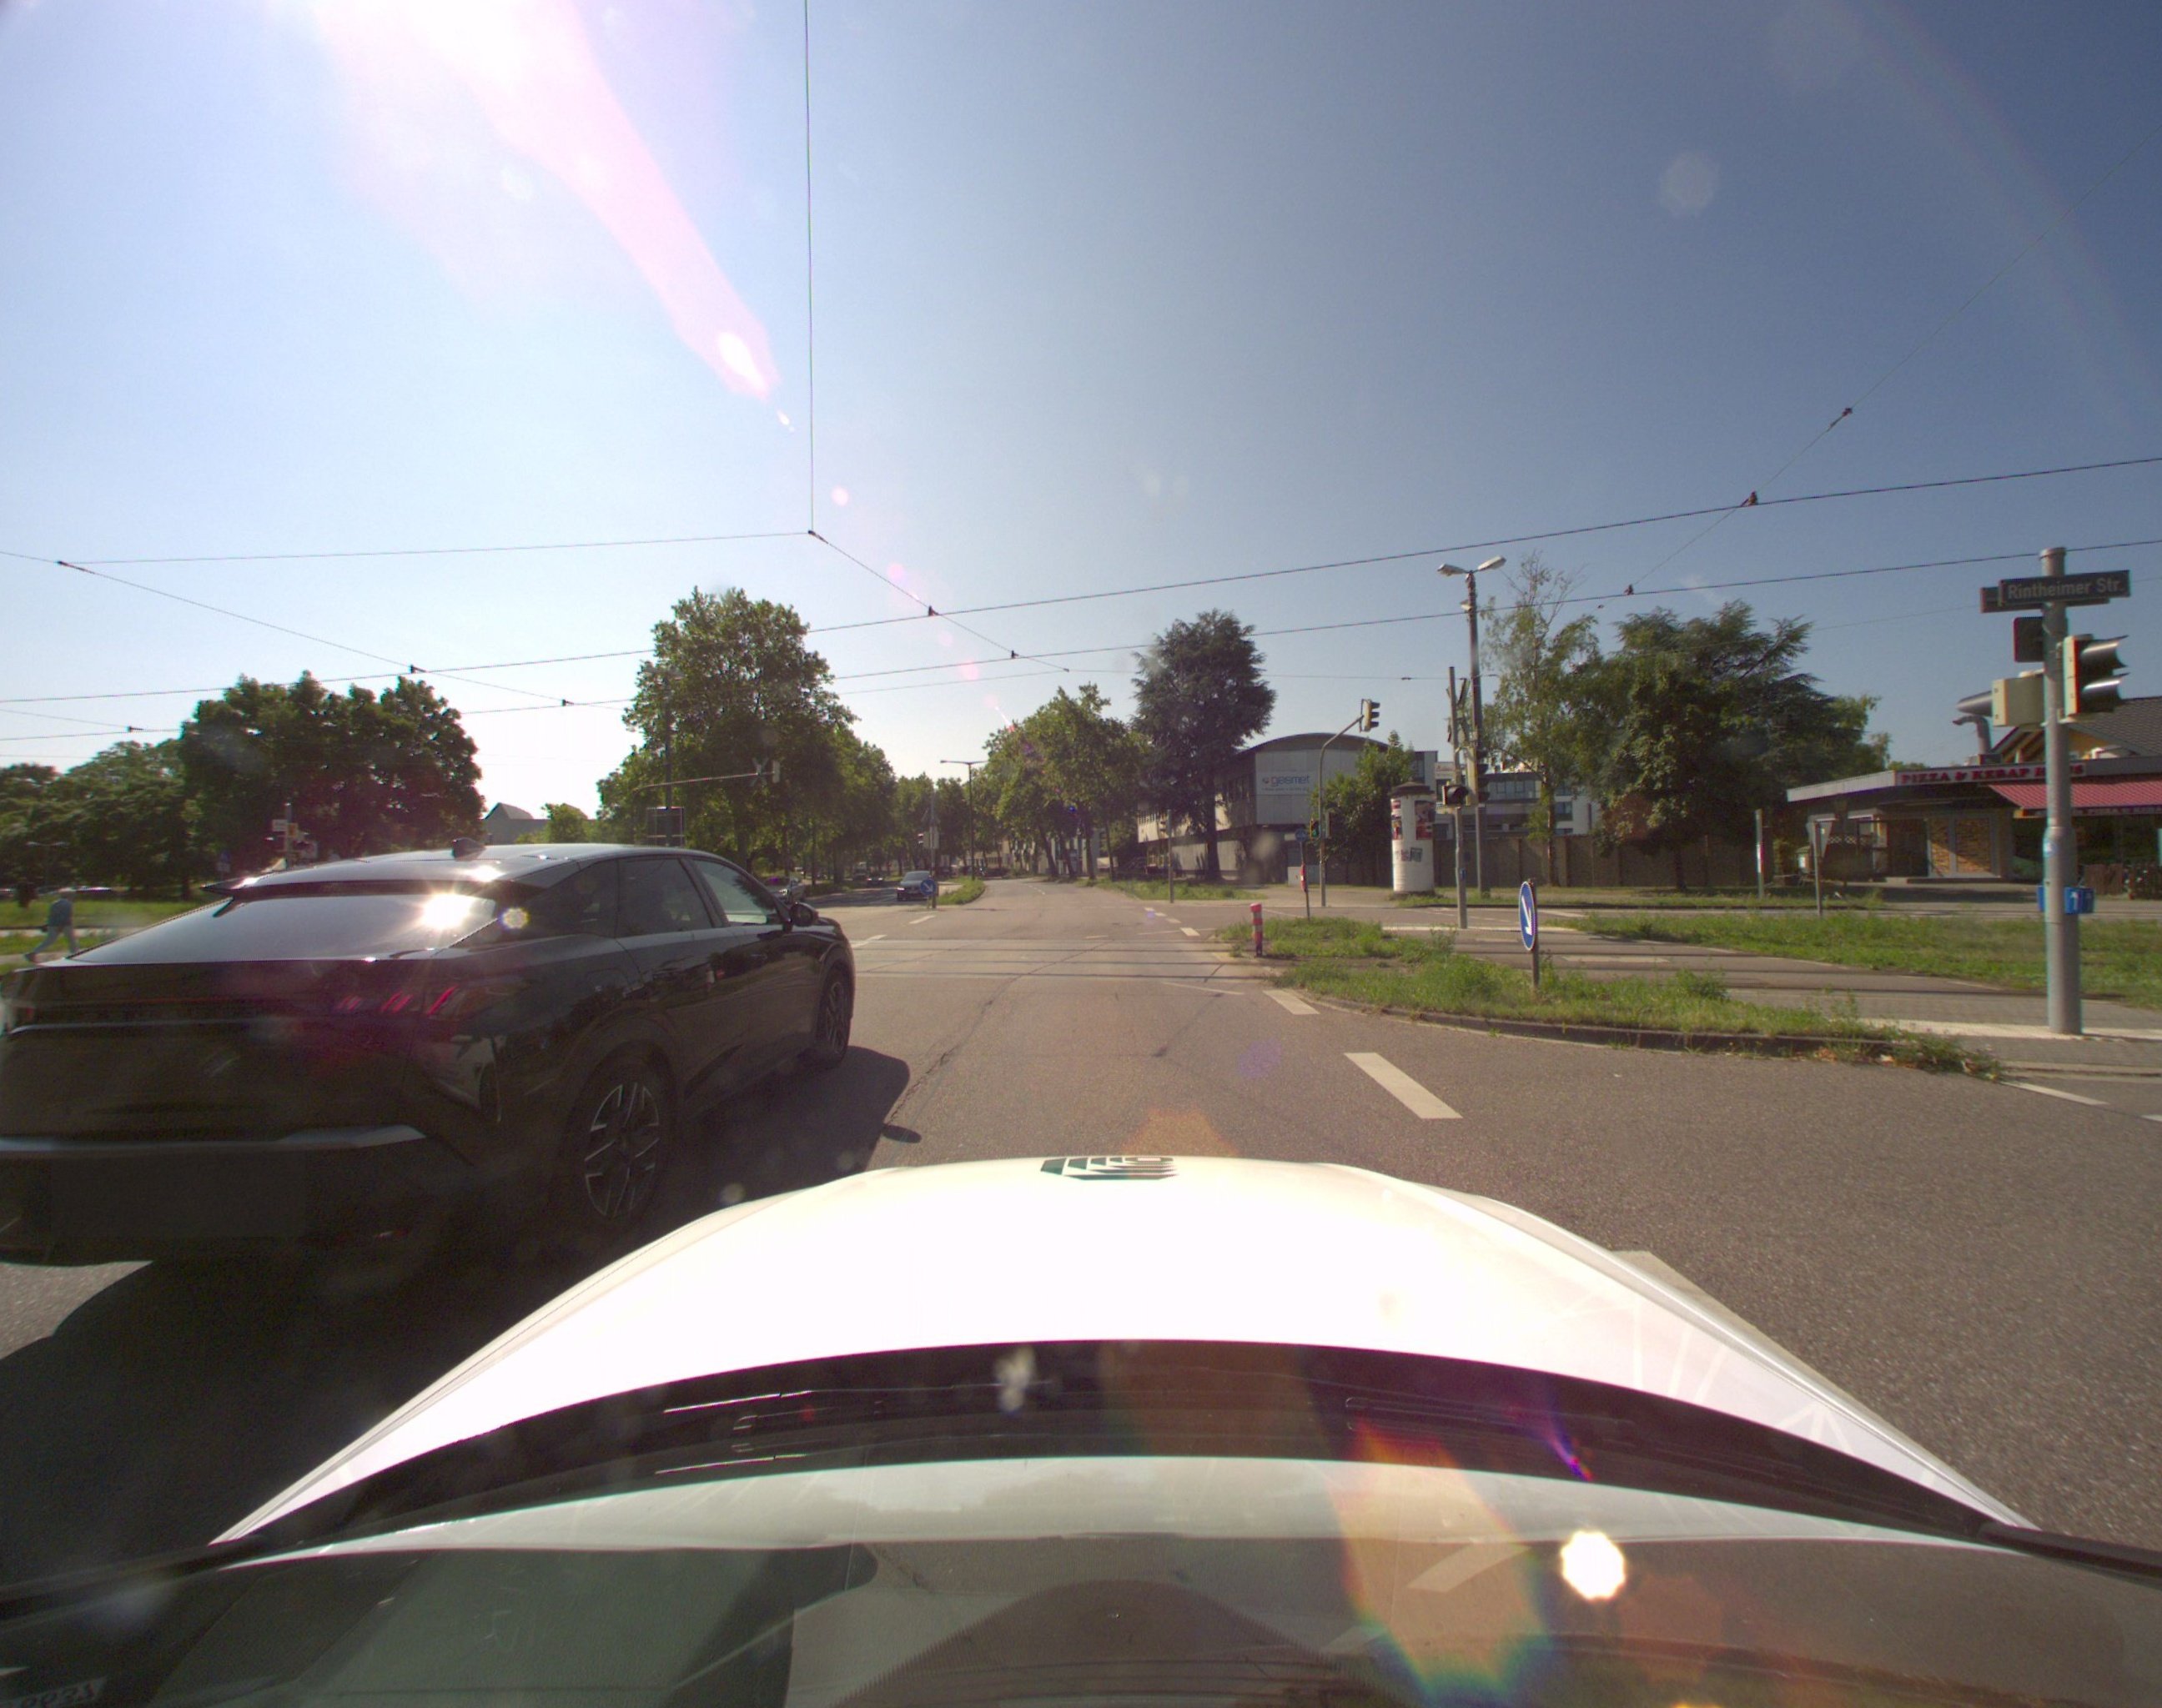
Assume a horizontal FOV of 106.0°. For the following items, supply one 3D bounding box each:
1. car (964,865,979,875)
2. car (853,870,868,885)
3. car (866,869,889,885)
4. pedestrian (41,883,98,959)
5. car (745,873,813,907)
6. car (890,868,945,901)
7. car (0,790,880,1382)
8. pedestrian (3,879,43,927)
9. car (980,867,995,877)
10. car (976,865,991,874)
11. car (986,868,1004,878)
[{"bbox_3d":[-20.576,3.011,153.095,1.713,1.669,4.500,-2,-1,-22],"label":"car"},{"bbox_3d":[-39.633,4.181,146.054,2.066,2.613,7.171,-2,-1,-18],"label":"car"},{"bbox_3d":[-21.769,2.465,87.066,1.707,1.589,4.423,-3,0,-6],"label":"car"},{"bbox_3d":[-21.457,1.402,17.280,0.362,1.561,0.672,-2,-1,18],"label":"pedestrian"},{"bbox_3d":[-15.319,1.792,41.538,1.688,1.508,4.660,-2,-1,0],"label":"car"},{"bbox_3d":[-8.193,1.478,41.073,1.687,1.508,4.133,-2,-1,3],"label":"car"},{"bbox_3d":[-2.680,0.706,4.608,1.865,1.696,4.436,-1,-1,1],"label":"car"},{"bbox_3d":[-45.989,2.114,35.410,0.796,2.014,0.707,-1,-1,-21],"label":"pedestrian"},{"bbox_3d":[-15.749,3.005,136.652,1.711,1.488,4.077,-2,-1,-17],"label":"car"},{"bbox_3d":[-16.923,2.732,141.538,1.711,1.455,4.629,-2,-1,-17],"label":"car"},{"bbox_3d":[-13.866,2.998,131.448,1.713,1.487,4.685,-3,0,-21],"label":"car"}]
